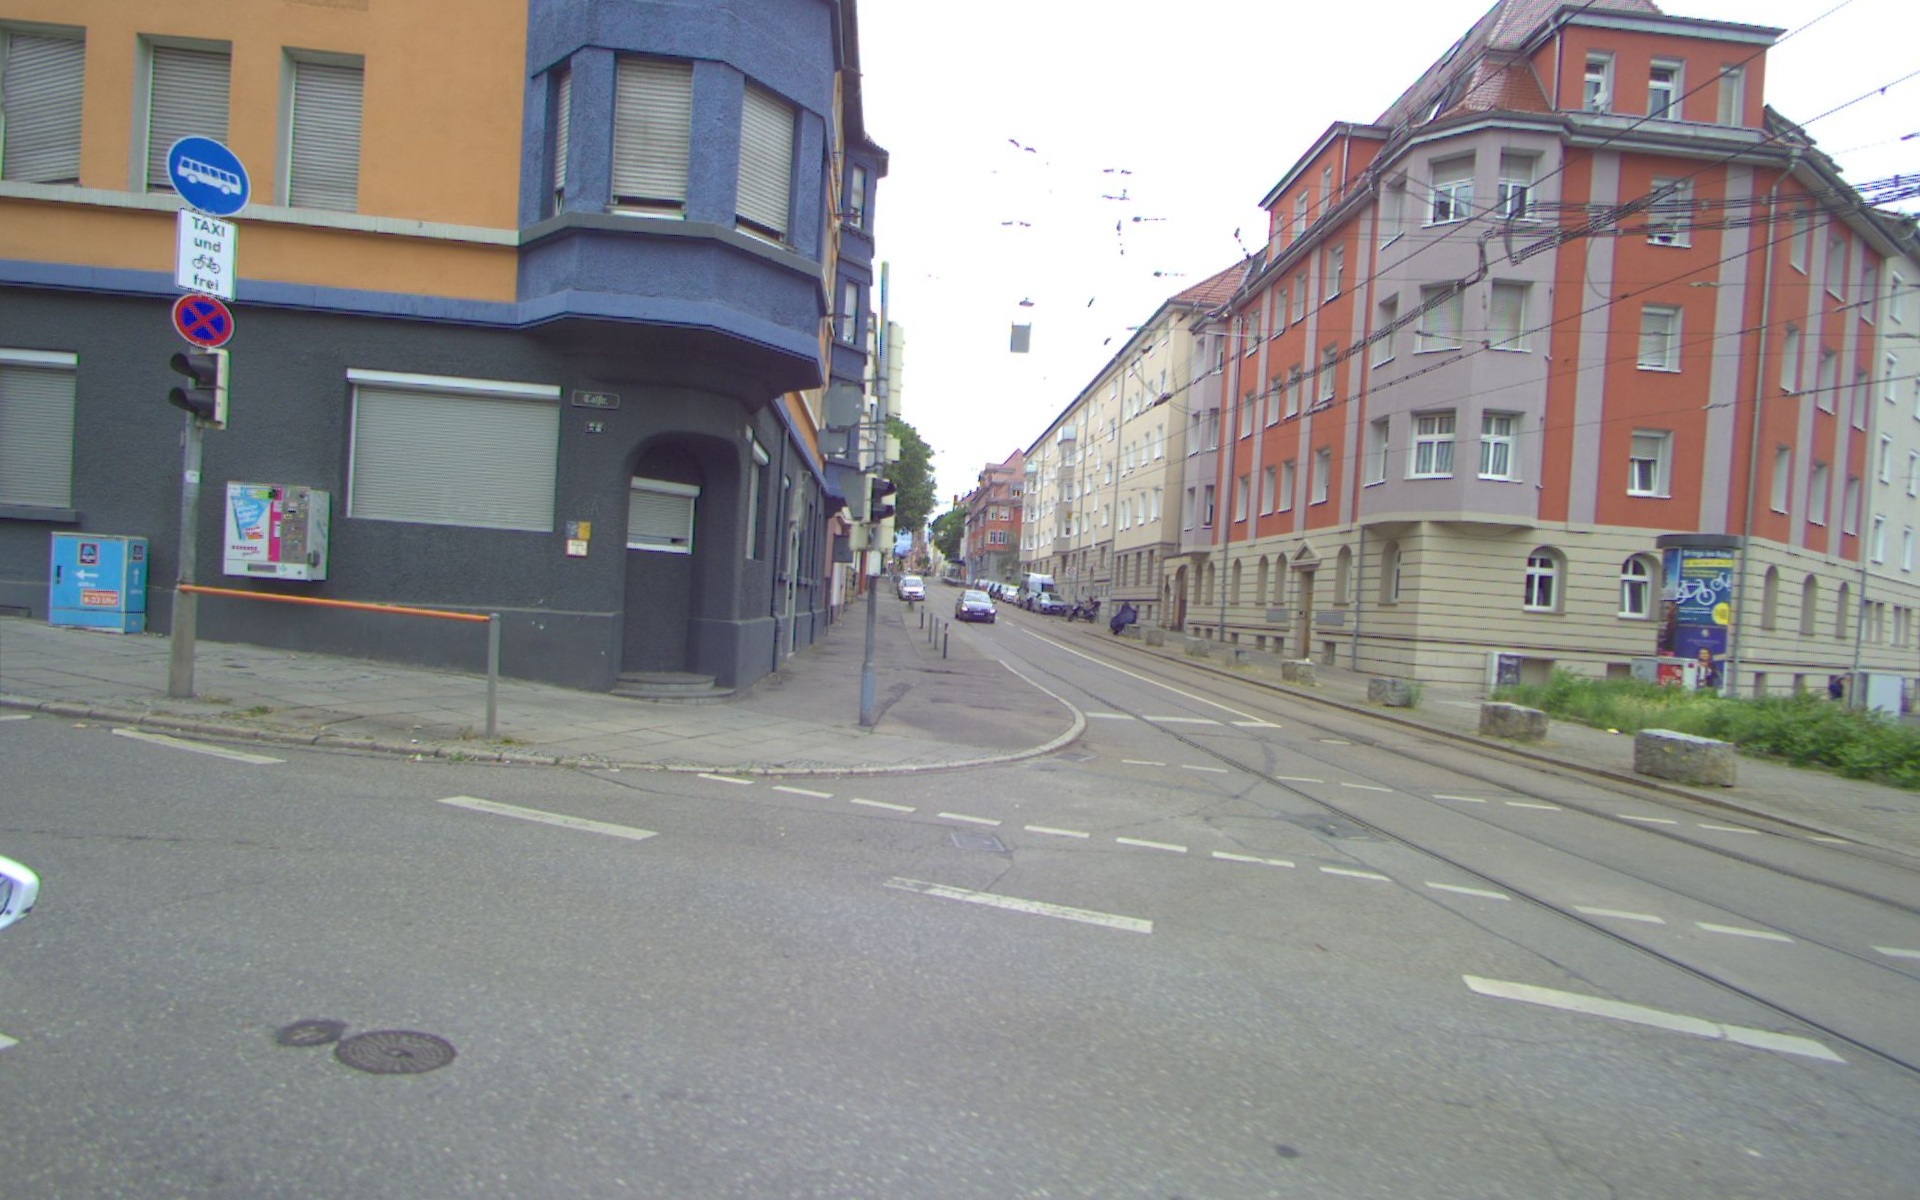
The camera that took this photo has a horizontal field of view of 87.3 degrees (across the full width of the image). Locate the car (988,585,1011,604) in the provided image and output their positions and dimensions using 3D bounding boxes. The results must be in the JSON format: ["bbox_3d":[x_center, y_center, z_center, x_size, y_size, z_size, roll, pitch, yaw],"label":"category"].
[{"bbox_3d":[3.737,-0.551,95.063,1.632,1.576,3.569,6,0,-4],"label":"car"}]

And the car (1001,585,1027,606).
[{"bbox_3d":[4.543,-0.411,84.903,1.669,1.576,3.640,6,0,-4],"label":"car"}]

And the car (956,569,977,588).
[{"bbox_3d":[0.885,-2.800,133.359,2.233,2.211,4.765,6,0,-4],"label":"car"}]

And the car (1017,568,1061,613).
[{"bbox_3d":[5.605,-0.681,72.332,2.233,2.927,4.765,6,0,-4],"label":"car"}]

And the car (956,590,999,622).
[{"bbox_3d":[0.824,0.278,48.964,1.661,1.343,3.659,6,0,-4],"label":"car"}]

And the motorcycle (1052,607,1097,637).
[{"bbox_3d":[6.070,1.154,53.453,2.149,1.343,0.697,6,1,-15],"label":"motorcycle"}]

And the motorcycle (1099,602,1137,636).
[{"bbox_3d":[6.729,0.797,42.922,0.847,1.345,2.178,-1,2,-13],"label":"motorcycle"}]

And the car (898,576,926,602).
[{"bbox_3d":[-3.705,-0.854,77.521,1.964,1.714,3.996,6,0,-4],"label":"car"}]

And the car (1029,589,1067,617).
[{"bbox_3d":[5.785,0.176,66.425,1.813,1.588,3.816,6,0,-4],"label":"car"}]

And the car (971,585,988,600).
[{"bbox_3d":[2.209,-0.866,113.369,1.466,1.490,3.509,6,0,-4],"label":"car"}]

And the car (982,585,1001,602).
[{"bbox_3d":[3.160,-0.642,102.350,1.502,1.523,3.400,6,0,-4],"label":"car"}]
